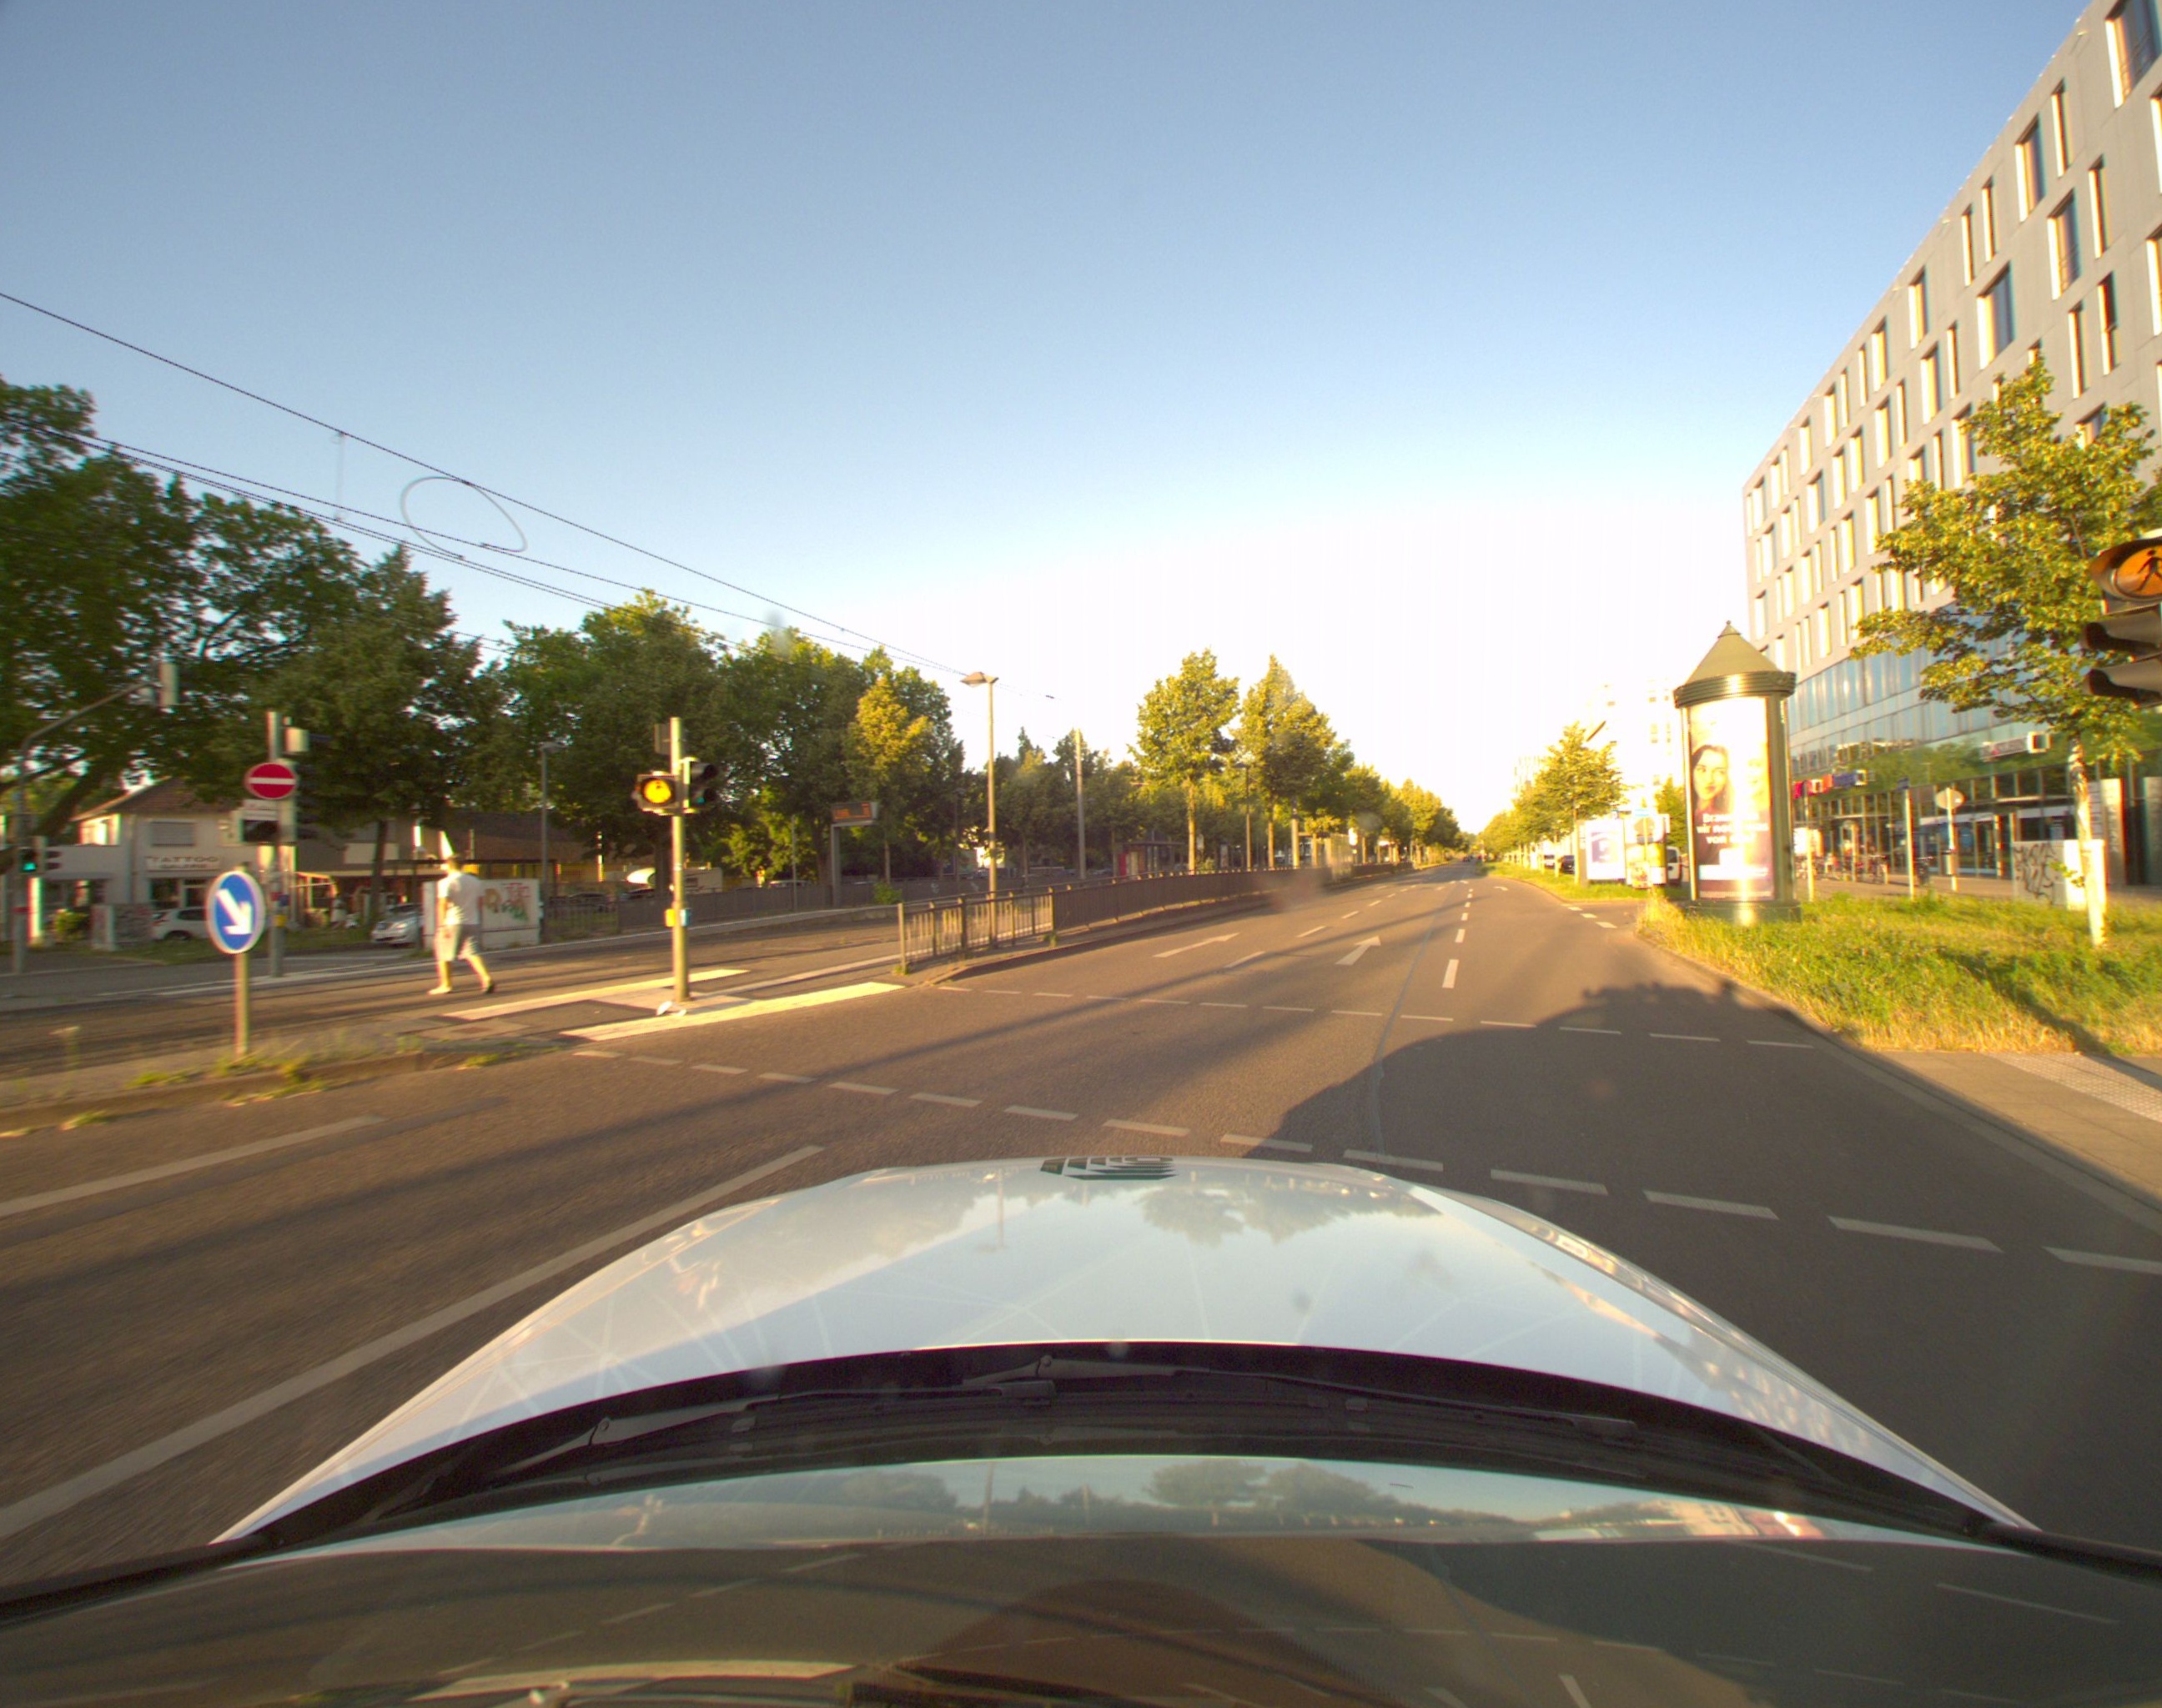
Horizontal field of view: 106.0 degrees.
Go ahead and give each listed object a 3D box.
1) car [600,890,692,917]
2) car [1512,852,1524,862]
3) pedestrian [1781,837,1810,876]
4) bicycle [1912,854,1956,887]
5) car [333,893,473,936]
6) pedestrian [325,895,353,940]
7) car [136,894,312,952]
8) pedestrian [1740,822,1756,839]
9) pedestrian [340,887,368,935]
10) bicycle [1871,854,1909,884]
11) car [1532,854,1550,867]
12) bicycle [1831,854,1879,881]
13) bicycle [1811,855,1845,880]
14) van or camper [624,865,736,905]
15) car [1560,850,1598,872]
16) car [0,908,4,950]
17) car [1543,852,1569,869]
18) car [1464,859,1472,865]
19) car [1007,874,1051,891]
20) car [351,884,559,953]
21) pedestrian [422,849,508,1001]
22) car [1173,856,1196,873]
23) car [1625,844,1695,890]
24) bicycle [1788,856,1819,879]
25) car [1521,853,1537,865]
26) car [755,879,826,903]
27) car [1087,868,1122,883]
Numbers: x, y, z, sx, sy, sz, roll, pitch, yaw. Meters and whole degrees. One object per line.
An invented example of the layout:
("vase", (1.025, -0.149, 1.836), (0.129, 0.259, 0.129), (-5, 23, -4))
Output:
("car", (-24.716, 2.786, 46.403), (1.901, 1.300, 4.270), (-3, -2, 30))
("car", (91.073, 0.680, 169.776), (1.975, 2.014, 4.023), (-2, -1, 25))
("pedestrian", (38.631, 0.140, 44.043), (0.804, 2.090, 1.119), (-4, -2, 28))
("bicycle", (28.952, 0.539, 27.673), (0.536, 1.068, 2.017), (-2, -1, 33))
("car", (-29.527, 2.615, 35.584), (1.974, 1.577, 4.270), (-3, -2, 30))
("pedestrian", (-28.508, 2.424, 31.300), (0.724, 1.639, 0.887), (-1, -2, -38))
("car", (-32.405, 2.564, 30.933), (1.974, 1.846, 4.270), (-3, -2, 30))
("pedestrian", (59.287, -2.108, 72.377), (1.118, 1.455, 0.805), (-1, -3, -38))
("pedestrian", (-27.471, 2.124, 30.785), (0.724, 1.754, 0.887), (-1, -2, -38))
("bicycle", (29.981, 0.556, 30.201), (0.628, 1.068, 2.136), (-2, -1, 35))
("car", (59.429, 0.828, 105.153), (2.010, 1.697, 4.424), (0, 0, 29))
("bicycle", (31.578, 0.535, 33.278), (0.629, 1.068, 2.133), (-2, -1, 21))
("bicycle", (32.998, 0.596, 35.993), (0.628, 1.068, 2.135), (-2, -1, 31))
("van or camper", (-27.354, 2.079, 55.807), (2.235, 2.410, 6.626), (-4, -2, 32))
("car", (38.972, 0.533, 63.828), (1.976, 1.697, 4.619), (0, 0, 24))
("car", (-49.067, 3.321, 34.247), (1.923, 1.835, 4.419), (-3, -1, 33))
("car", (49.245, 0.643, 84.483), (1.975, 1.697, 4.440), (0, 0, 25))
("car", (103.237, 2.169, 217.260), (1.680, 1.596, 4.023), (-4, -2, 25))
("car", (-4.777, 2.606, 75.035), (1.974, 1.465, 4.270), (-3, -2, 30))
("car", (-18.522, 1.844, 24.370), (1.839, 1.728, 4.574), (-3, -1, 24))
("pedestrian", (-7.670, 0.852, 10.179), (0.766, 1.791, 0.794), (1, -3, -32))
("car", (13.985, 1.425, 109.812), (1.758, 2.185, 4.024), (-2, -1, 27))
("car", (24.989, 0.533, 35.277), (1.834, 1.828, 4.421), (0, 0, 27))
("bicycle", (34.039, 0.628, 38.384), (0.628, 1.068, 2.135), (-2, -1, 29))
("car", (69.701, 0.815, 126.688), (1.877, 1.771, 3.969), (-2, -1, 25))
("car", (-19.802, 2.512, 55.732), (1.974, 1.465, 4.270), (-3, -2, 30))
("car", (2.606, 2.375, 88.948), (1.974, 1.465, 4.270), (-3, -2, 30))
